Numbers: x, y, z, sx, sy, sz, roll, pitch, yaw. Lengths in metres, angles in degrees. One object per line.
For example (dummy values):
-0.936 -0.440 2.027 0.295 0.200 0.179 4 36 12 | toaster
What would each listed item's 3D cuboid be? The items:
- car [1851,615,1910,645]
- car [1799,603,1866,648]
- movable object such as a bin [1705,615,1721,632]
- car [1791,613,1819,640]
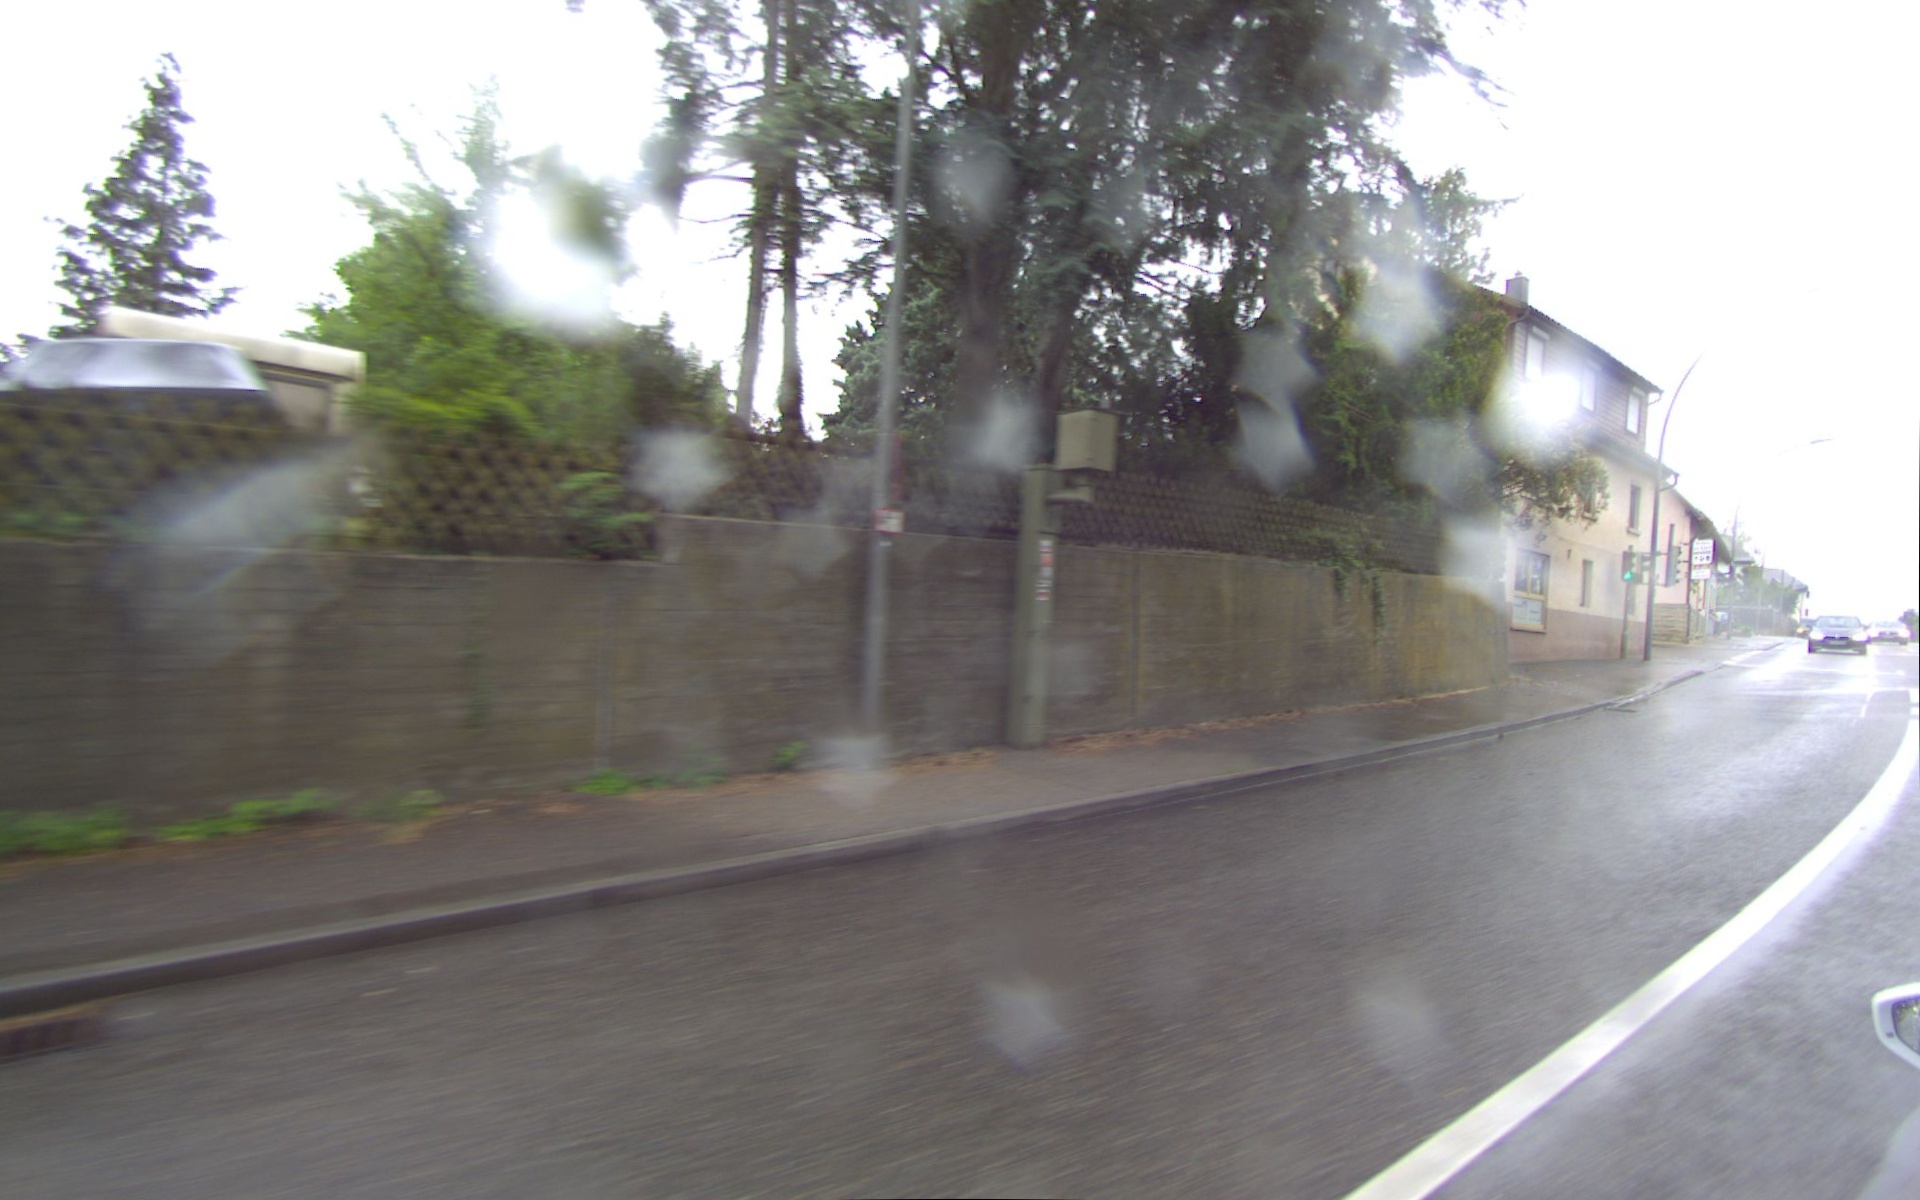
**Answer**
53.598 1.700 58.577 1.918 1.595 4.212 1 0 35 | car
35.666 1.018 41.031 1.971 1.729 3.978 1 0 42 | car
46.913 1.456 62.617 0.667 1.046 0.633 1 -1 -36 | movable object such as a bin
95.731 3.035 113.797 2.071 2.684 5.886 4 0 43 | car
